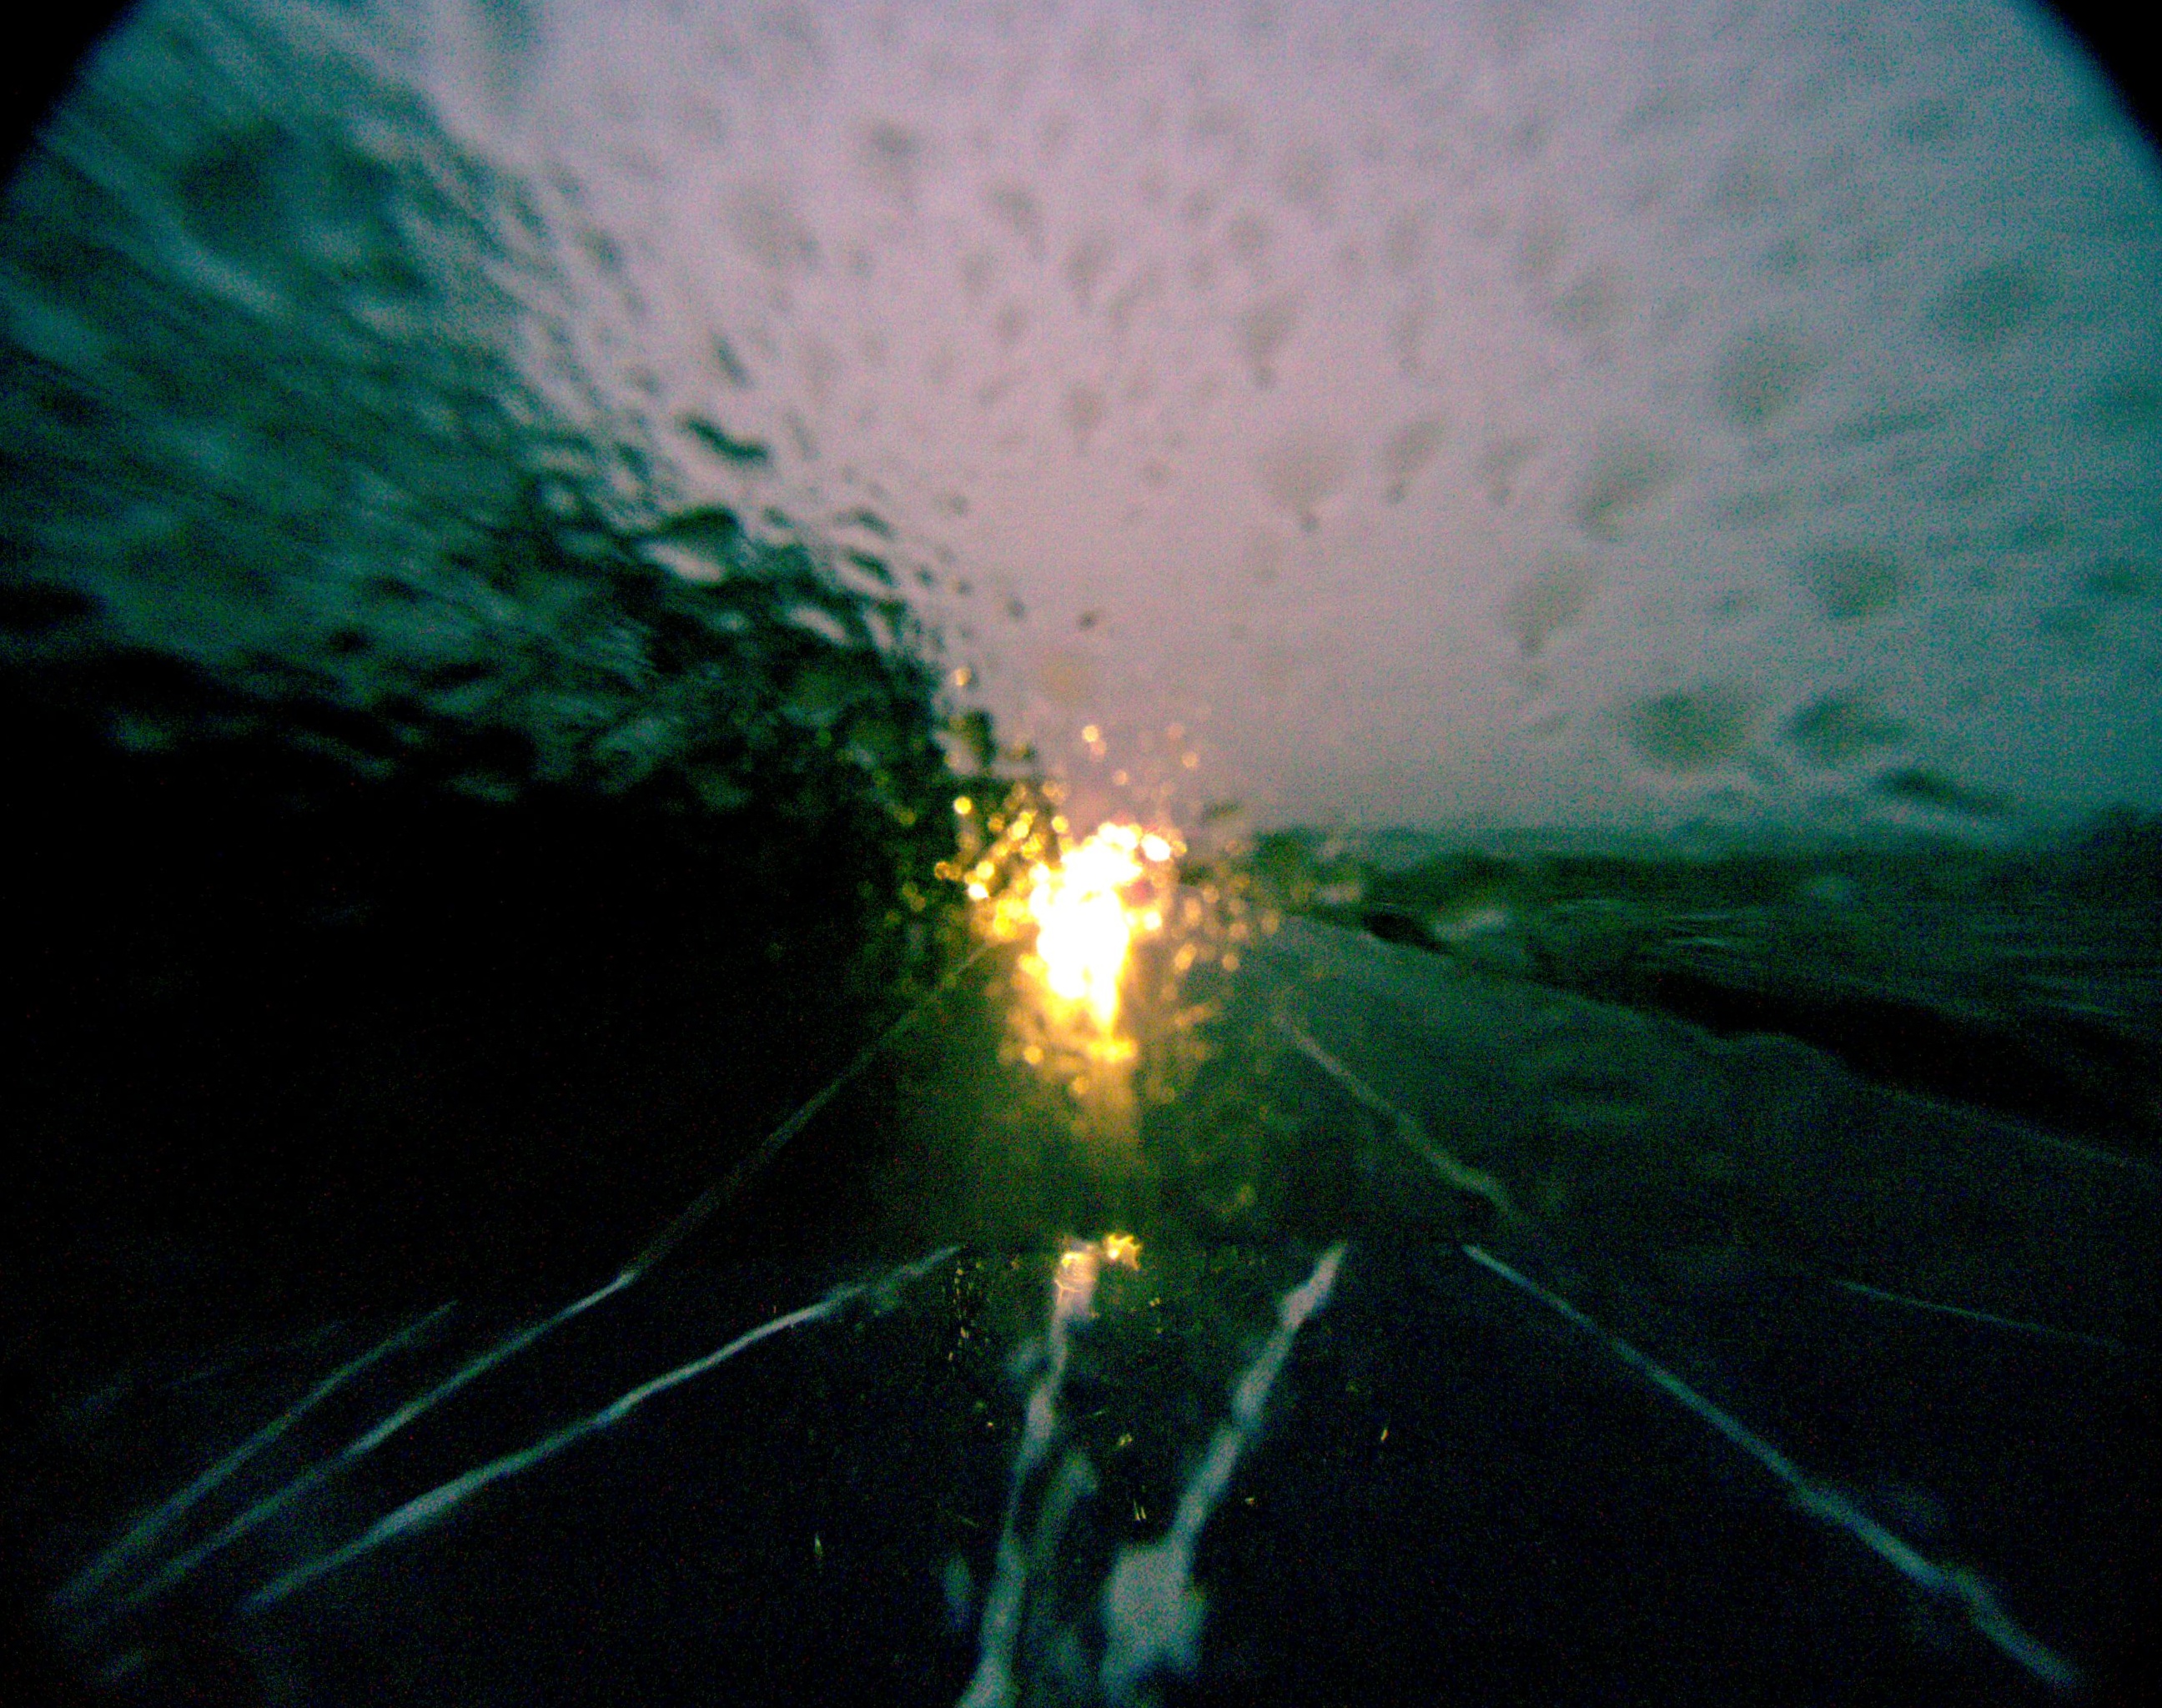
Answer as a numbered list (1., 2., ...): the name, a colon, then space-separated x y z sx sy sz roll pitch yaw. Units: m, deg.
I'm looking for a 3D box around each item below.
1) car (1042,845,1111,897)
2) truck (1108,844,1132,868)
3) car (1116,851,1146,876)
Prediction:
1. car: -0.114 0.660 33.661 2.704 1.974 5.804 -3 0 1
2. truck: 4.348 0.196 86.510 2.275 2.619 7.034 2 0 0
3. car: 3.755 0.684 58.008 1.998 1.812 4.000 1 0 0
